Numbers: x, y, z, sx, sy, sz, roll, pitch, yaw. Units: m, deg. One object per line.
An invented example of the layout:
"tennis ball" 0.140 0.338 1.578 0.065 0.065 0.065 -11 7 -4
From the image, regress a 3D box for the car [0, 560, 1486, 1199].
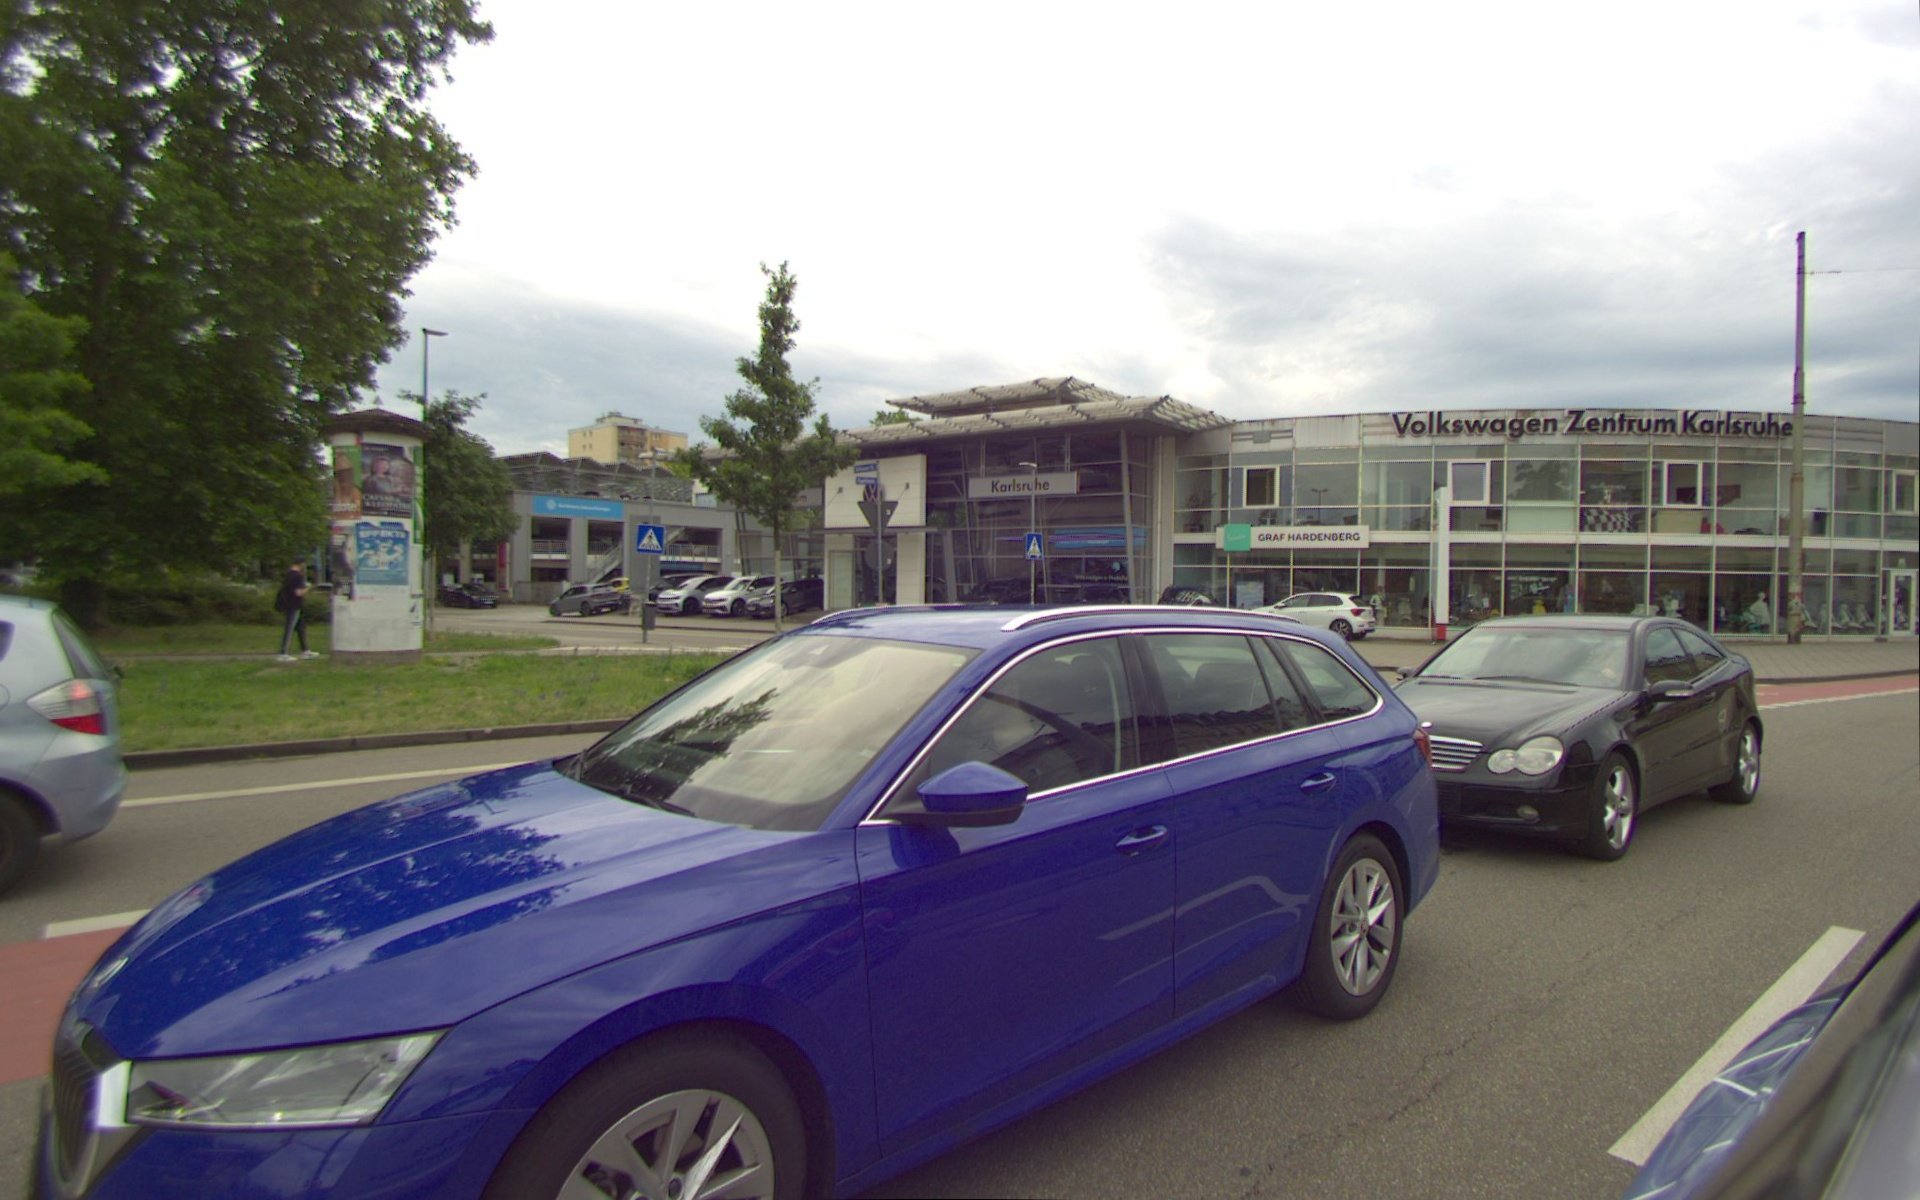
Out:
"car" -0.111 0.661 3.342 4.387 1.507 1.783 -1 2 -41

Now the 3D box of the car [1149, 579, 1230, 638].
"car" 7.349 0.210 32.743 1.867 1.581 4.219 1 3 4

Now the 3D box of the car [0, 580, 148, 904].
"car" -6.116 0.650 4.361 4.027 1.485 1.752 0 1 -41

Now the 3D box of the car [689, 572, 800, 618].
"car" -9.407 -0.276 44.596 1.850 1.719 4.716 0 4 36

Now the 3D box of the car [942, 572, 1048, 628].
"car" 1.317 -0.048 35.803 1.846 1.652 4.464 0 4 31

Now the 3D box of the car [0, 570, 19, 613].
"car" -36.507 -0.330 36.334 4.408 1.567 1.854 1 1 13

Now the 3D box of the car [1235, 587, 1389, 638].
"car" 11.006 0.355 31.795 4.243 1.471 1.757 1 1 40

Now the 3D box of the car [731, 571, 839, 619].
"car" -7.324 -0.251 42.851 1.886 1.717 4.421 0 4 36

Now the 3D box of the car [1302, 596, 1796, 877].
"car" 4.338 0.706 7.215 3.996 1.439 1.714 0 1 -39

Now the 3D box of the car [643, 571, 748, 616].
"car" -11.988 -0.331 46.191 1.859 1.719 4.419 0 4 37

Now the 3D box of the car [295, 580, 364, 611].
"car" -37.072 -0.287 59.502 4.446 1.643 1.838 2 2 35

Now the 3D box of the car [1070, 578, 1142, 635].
"car" 4.702 0.154 33.128 1.824 1.522 4.340 0 4 2

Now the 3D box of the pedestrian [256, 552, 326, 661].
"pedestrian" -11.853 0.107 17.959 0.527 1.867 0.985 1 1 6

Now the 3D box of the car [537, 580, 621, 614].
"car" -18.646 -0.164 49.497 3.988 1.583 1.896 0 2 35

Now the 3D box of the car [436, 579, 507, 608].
"car" -28.995 -0.403 60.049 4.446 1.567 1.876 2 2 35
